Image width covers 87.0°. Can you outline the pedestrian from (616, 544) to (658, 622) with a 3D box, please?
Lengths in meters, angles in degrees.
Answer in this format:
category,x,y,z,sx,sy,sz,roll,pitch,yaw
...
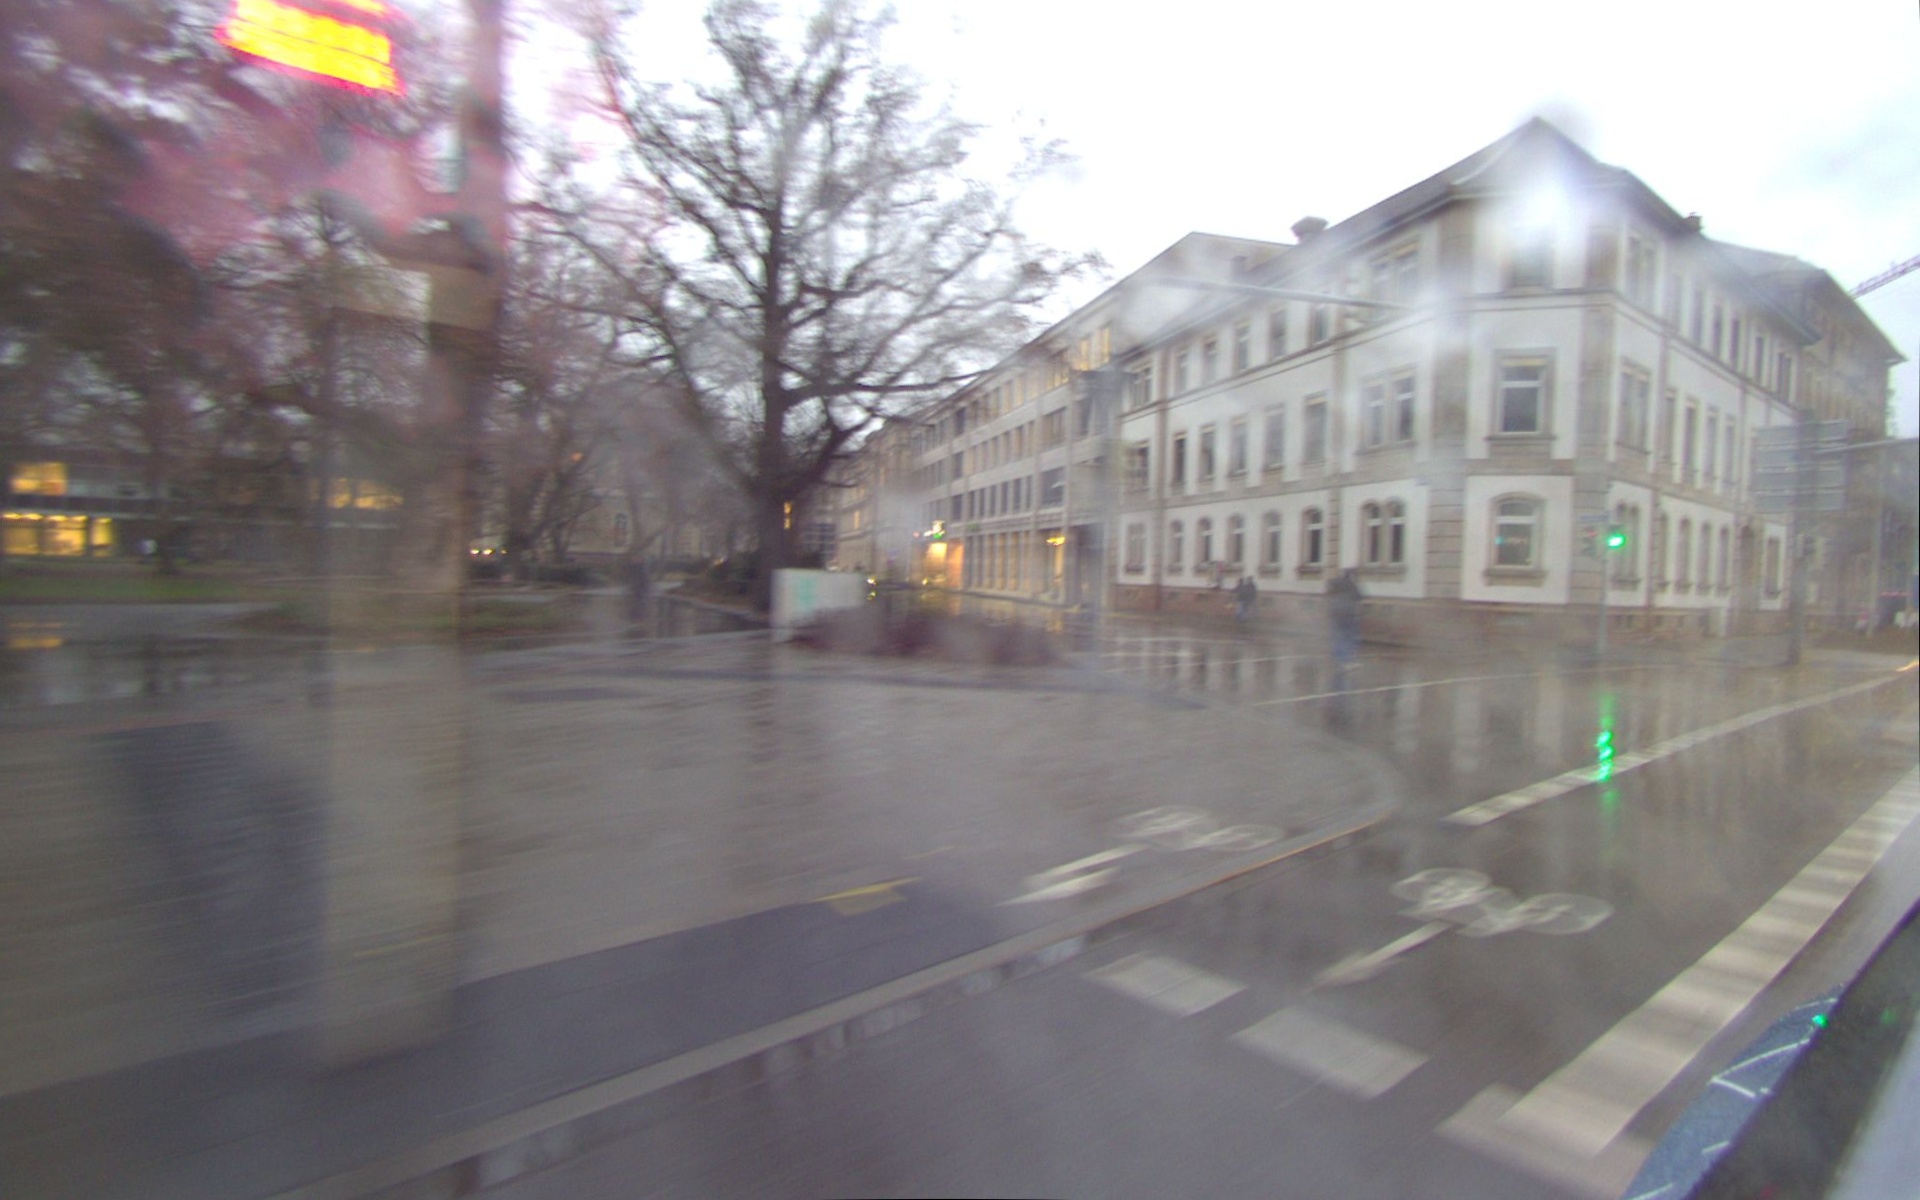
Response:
category,x,y,z,sx,sy,sz,roll,pitch,yaw
pedestrian,-7.030,-0.370,22.016,0.834,1.661,0.728,1,0,-20

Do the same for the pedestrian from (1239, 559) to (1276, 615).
category,x,y,z,sx,sy,sz,roll,pitch,yaw
pedestrian,10.698,-0.468,36.425,0.849,2.005,0.980,1,0,-18

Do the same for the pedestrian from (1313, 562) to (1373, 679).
category,x,y,z,sx,sy,sz,roll,pitch,yaw
pedestrian,6.384,0.331,16.892,0.661,1.903,0.716,1,0,-6

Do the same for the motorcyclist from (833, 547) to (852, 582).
category,x,y,z,sx,sy,sz,roll,pitch,yaw
motorcyclist,-7.528,-2.254,64.814,0.928,2.194,1.198,1,0,-17

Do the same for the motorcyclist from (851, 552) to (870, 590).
category,x,y,z,sx,sy,sz,roll,pitch,yaw
motorcyclist,-5.614,-1.616,57.011,0.929,2.079,1.032,1,0,-9

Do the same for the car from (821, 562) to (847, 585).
category,x,y,z,sx,sy,sz,roll,pitch,yaw
car,-11.395,-2.383,91.457,1.958,2.039,4.008,1,1,-12

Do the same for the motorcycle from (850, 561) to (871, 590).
category,x,y,z,sx,sy,sz,roll,pitch,yaw
motorcycle,-5.631,-1.367,57.098,0.929,1.579,3.531,1,1,-9

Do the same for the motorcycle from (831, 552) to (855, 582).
category,x,y,z,sx,sy,sz,roll,pitch,yaw
motorcycle,-7.500,-2.089,64.776,0.928,1.867,3.533,1,1,-17

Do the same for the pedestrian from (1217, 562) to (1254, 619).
category,x,y,z,sx,sy,sz,roll,pitch,yaw
pedestrian,9.841,-0.344,36.222,0.849,2.005,0.980,1,0,-18
